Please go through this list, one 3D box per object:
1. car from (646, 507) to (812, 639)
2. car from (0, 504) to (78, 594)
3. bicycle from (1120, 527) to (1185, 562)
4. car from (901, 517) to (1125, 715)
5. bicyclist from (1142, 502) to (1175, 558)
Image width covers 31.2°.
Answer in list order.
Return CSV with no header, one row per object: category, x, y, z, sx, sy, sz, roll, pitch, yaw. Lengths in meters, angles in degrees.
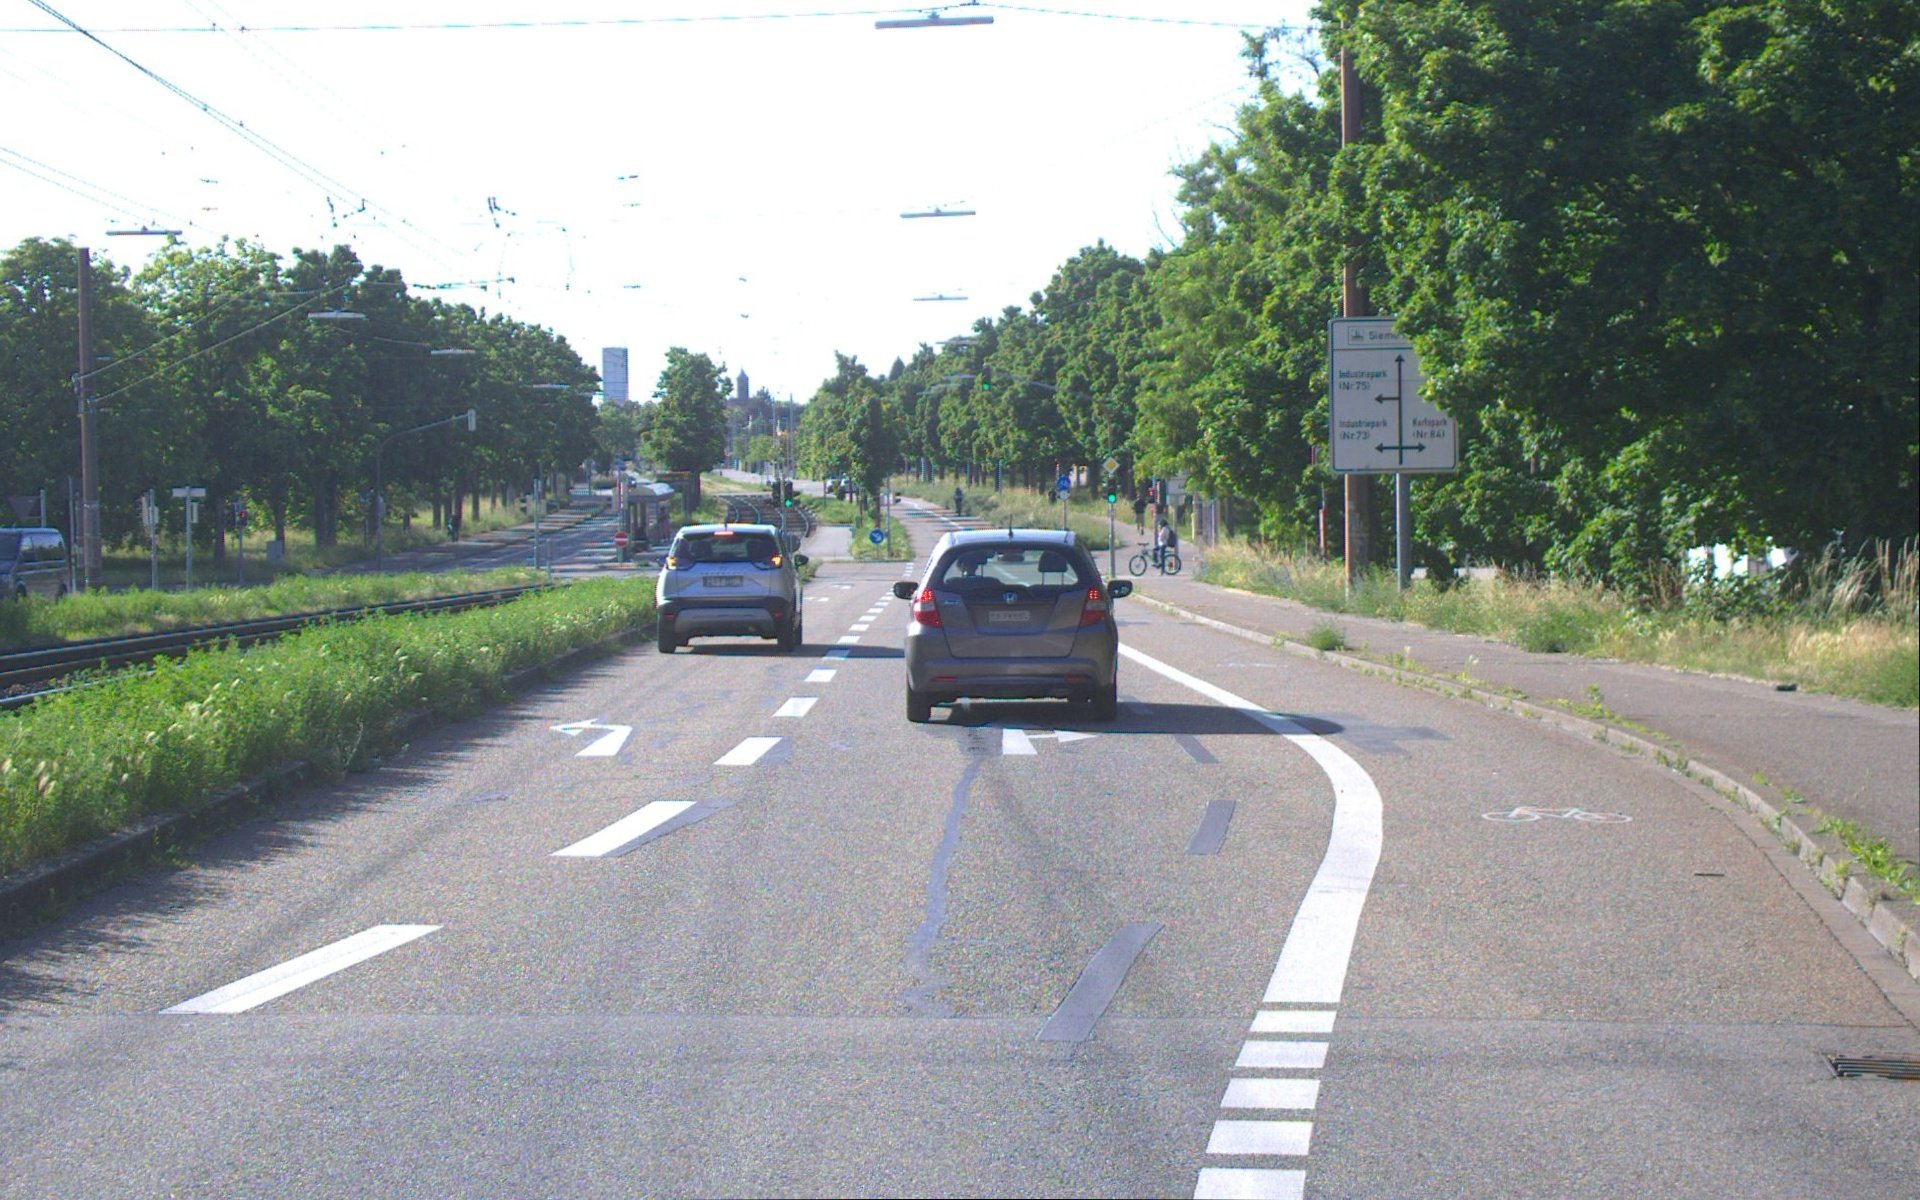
car,-2.904,-0.382,43.986,1.850,1.601,4.255,0,1,0
car,-20.877,-1.138,74.352,2.197,1.884,4.791,0,2,2
bicycle,6.079,-1.754,108.529,1.921,0.994,0.764,-2,1,11
car,0.380,0.074,28.334,1.707,1.503,4.000,0,1,-1
bicyclist,6.271,-2.223,108.478,0.910,1.739,0.764,-2,1,11
